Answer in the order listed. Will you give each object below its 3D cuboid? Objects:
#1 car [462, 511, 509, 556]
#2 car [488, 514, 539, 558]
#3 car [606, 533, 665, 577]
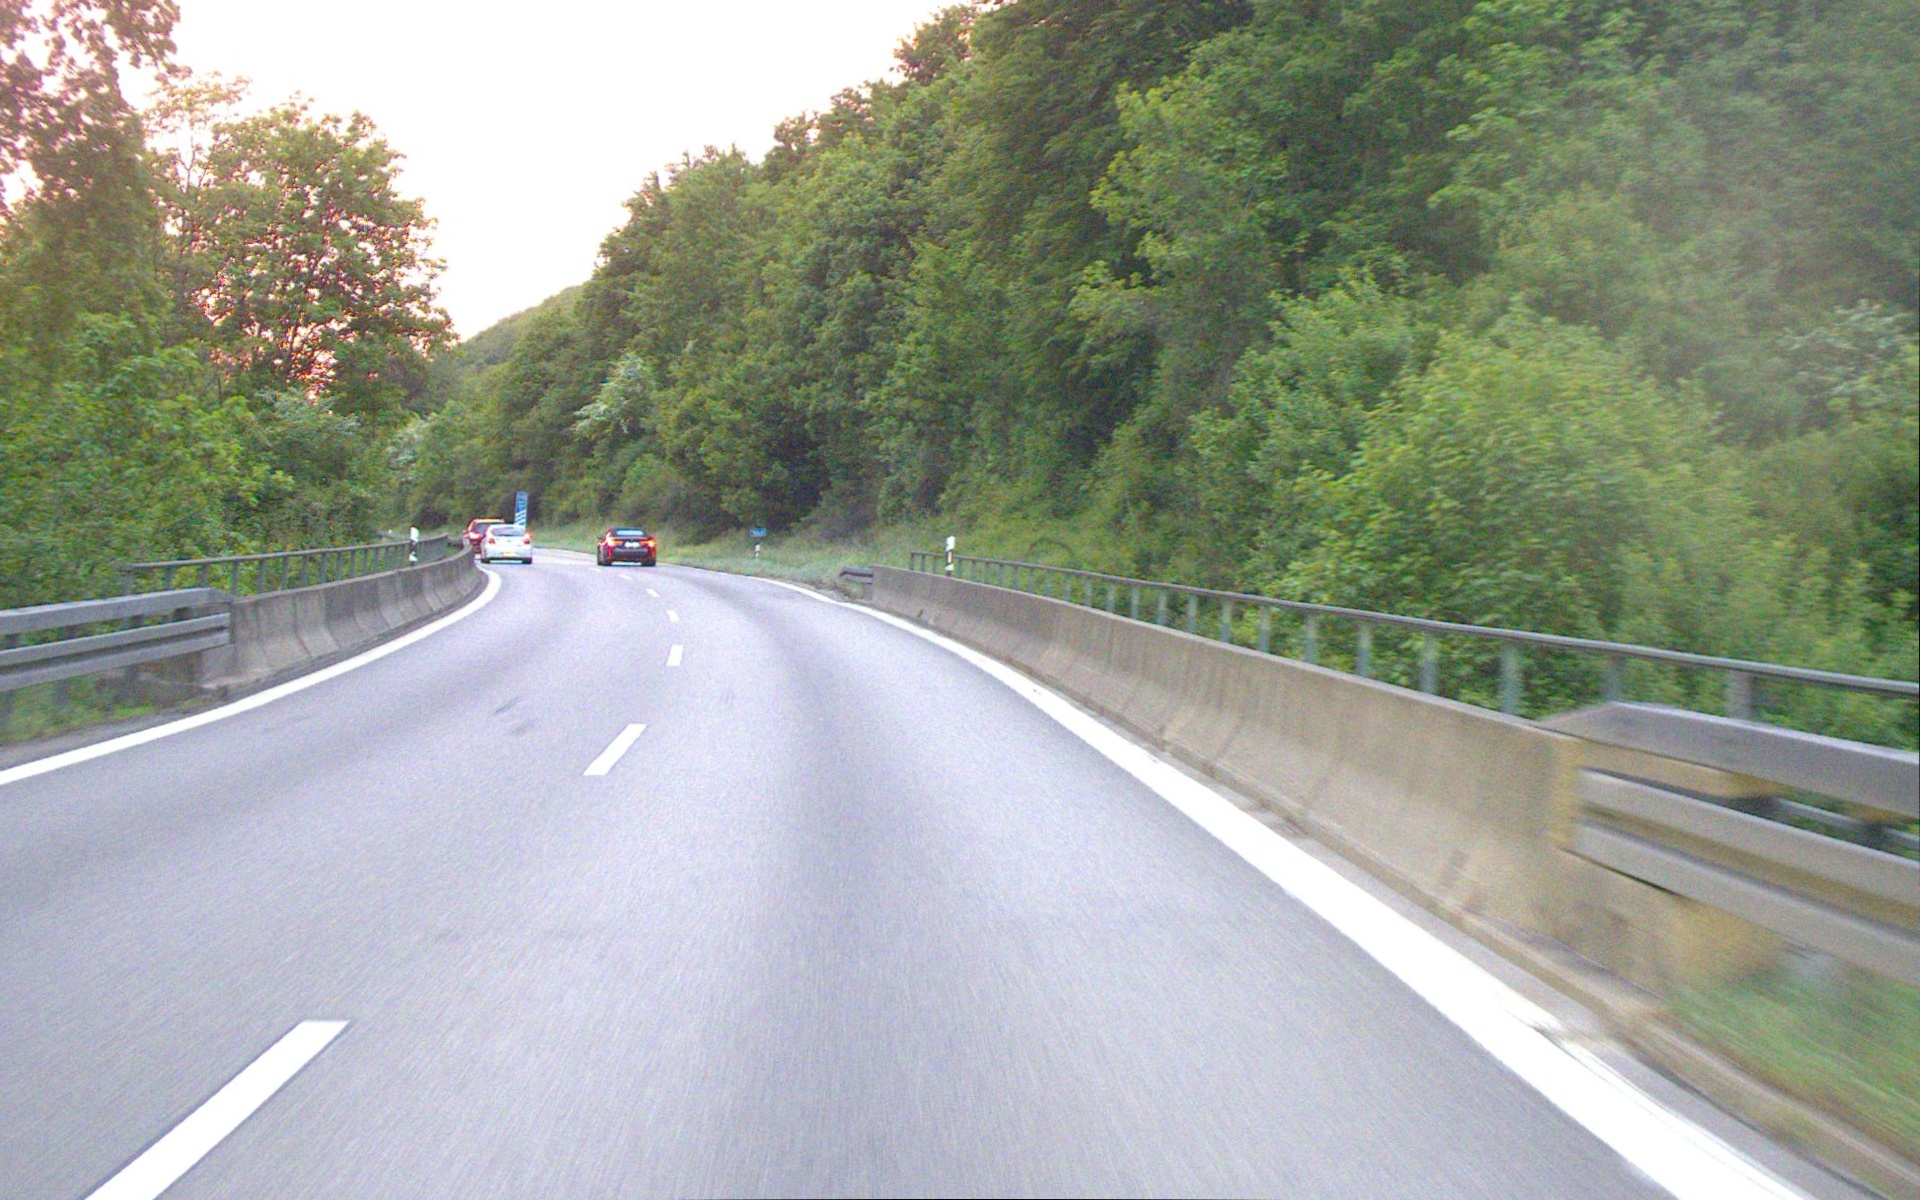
[{"bbox_3d":[-19.232,-2.690,139.506,1.718,1.629,4.001,-3,0,-7],"label":"car"},{"bbox_3d":[-16.678,-2.377,128.548,1.718,1.496,4.000,2,-1,-5],"label":"car"},{"bbox_3d":[-11.842,-1.648,125.304,1.877,1.461,4.001,2,2,-9],"label":"car"}]
